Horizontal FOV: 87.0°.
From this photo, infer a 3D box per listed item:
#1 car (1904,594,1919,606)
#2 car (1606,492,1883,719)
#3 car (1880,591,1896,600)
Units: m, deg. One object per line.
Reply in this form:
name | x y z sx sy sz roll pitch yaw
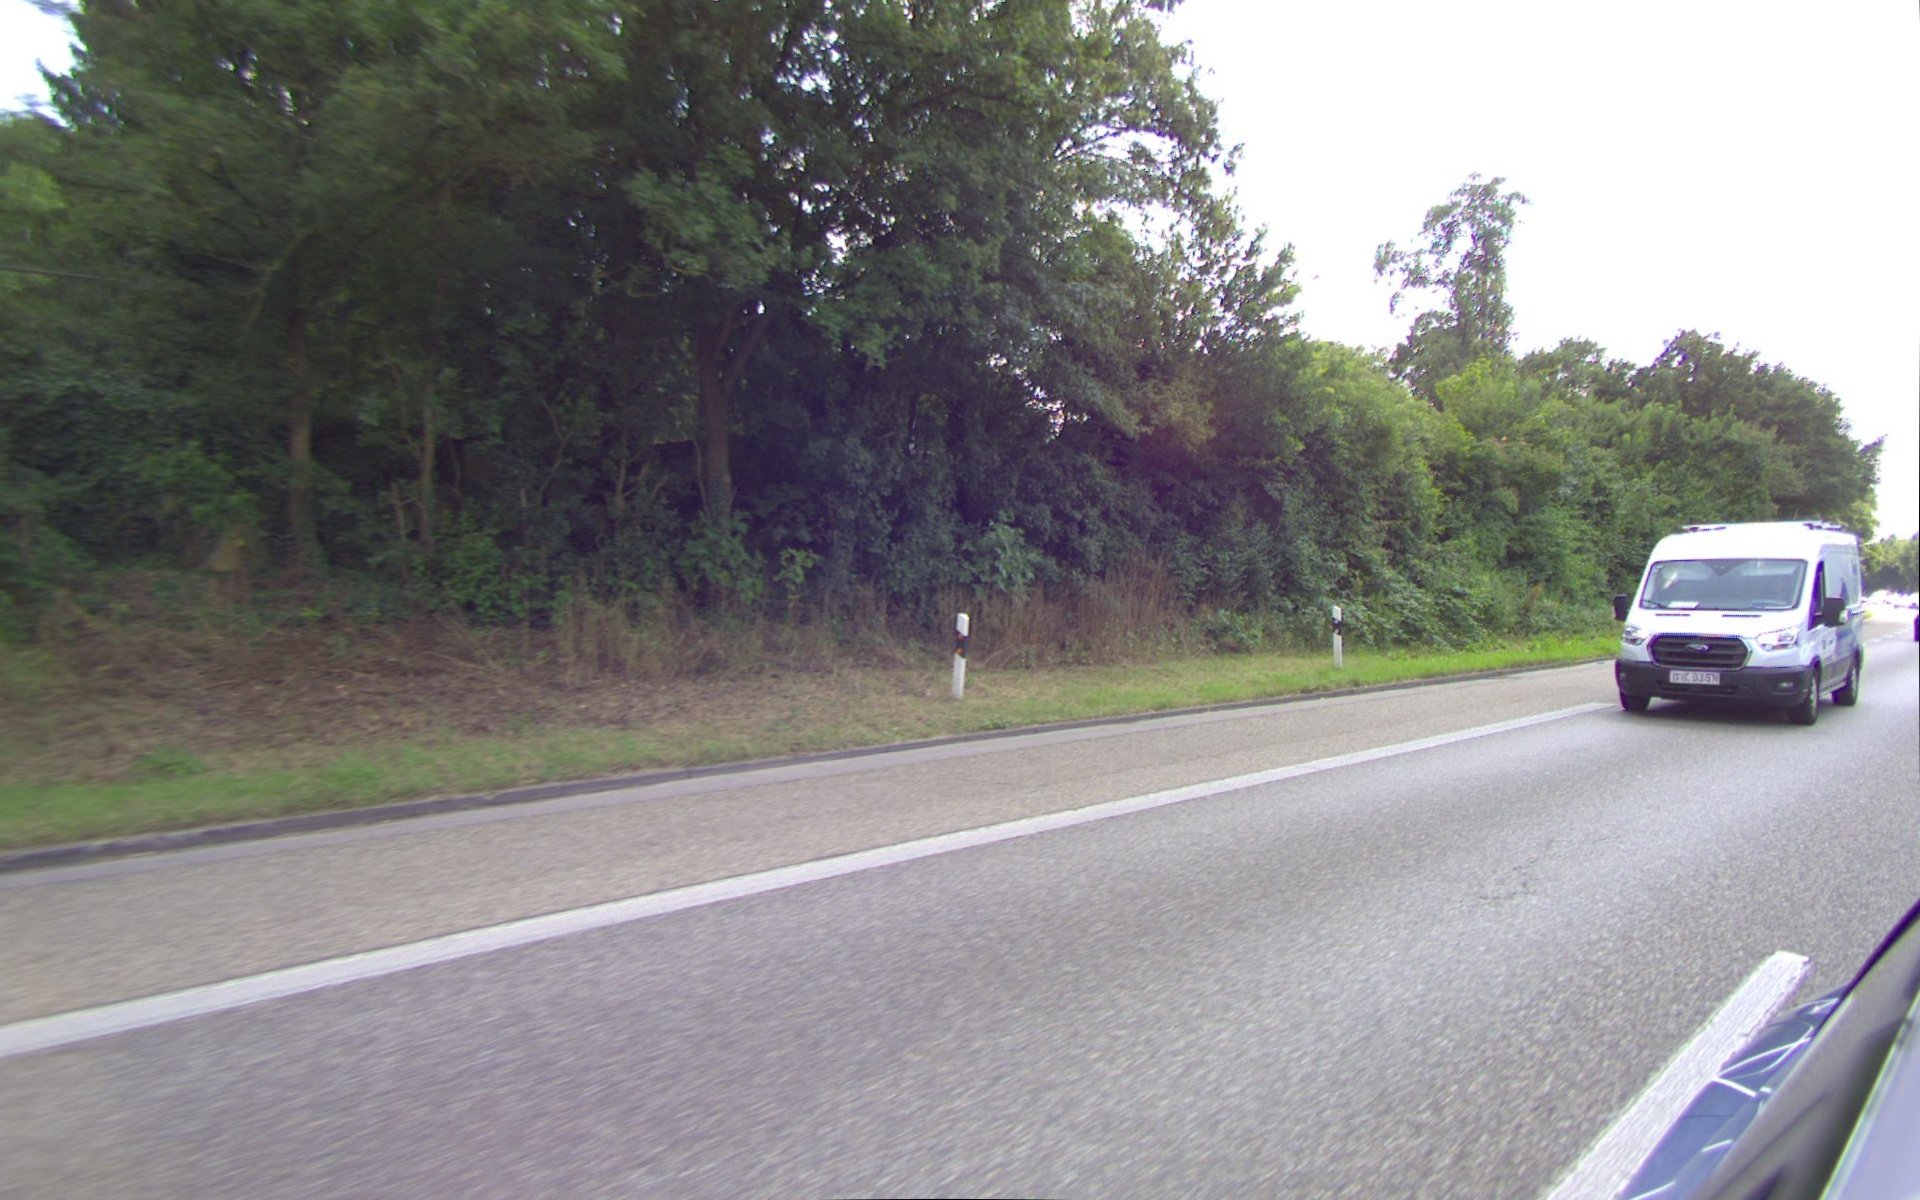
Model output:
car | 126.600 -0.018 134.356 1.782 1.540 3.936 3 2 45
car | 10.868 0.047 13.854 5.187 2.539 2.102 0 0 -42
car | 157.472 -0.782 171.708 1.782 1.540 3.936 3 2 45
